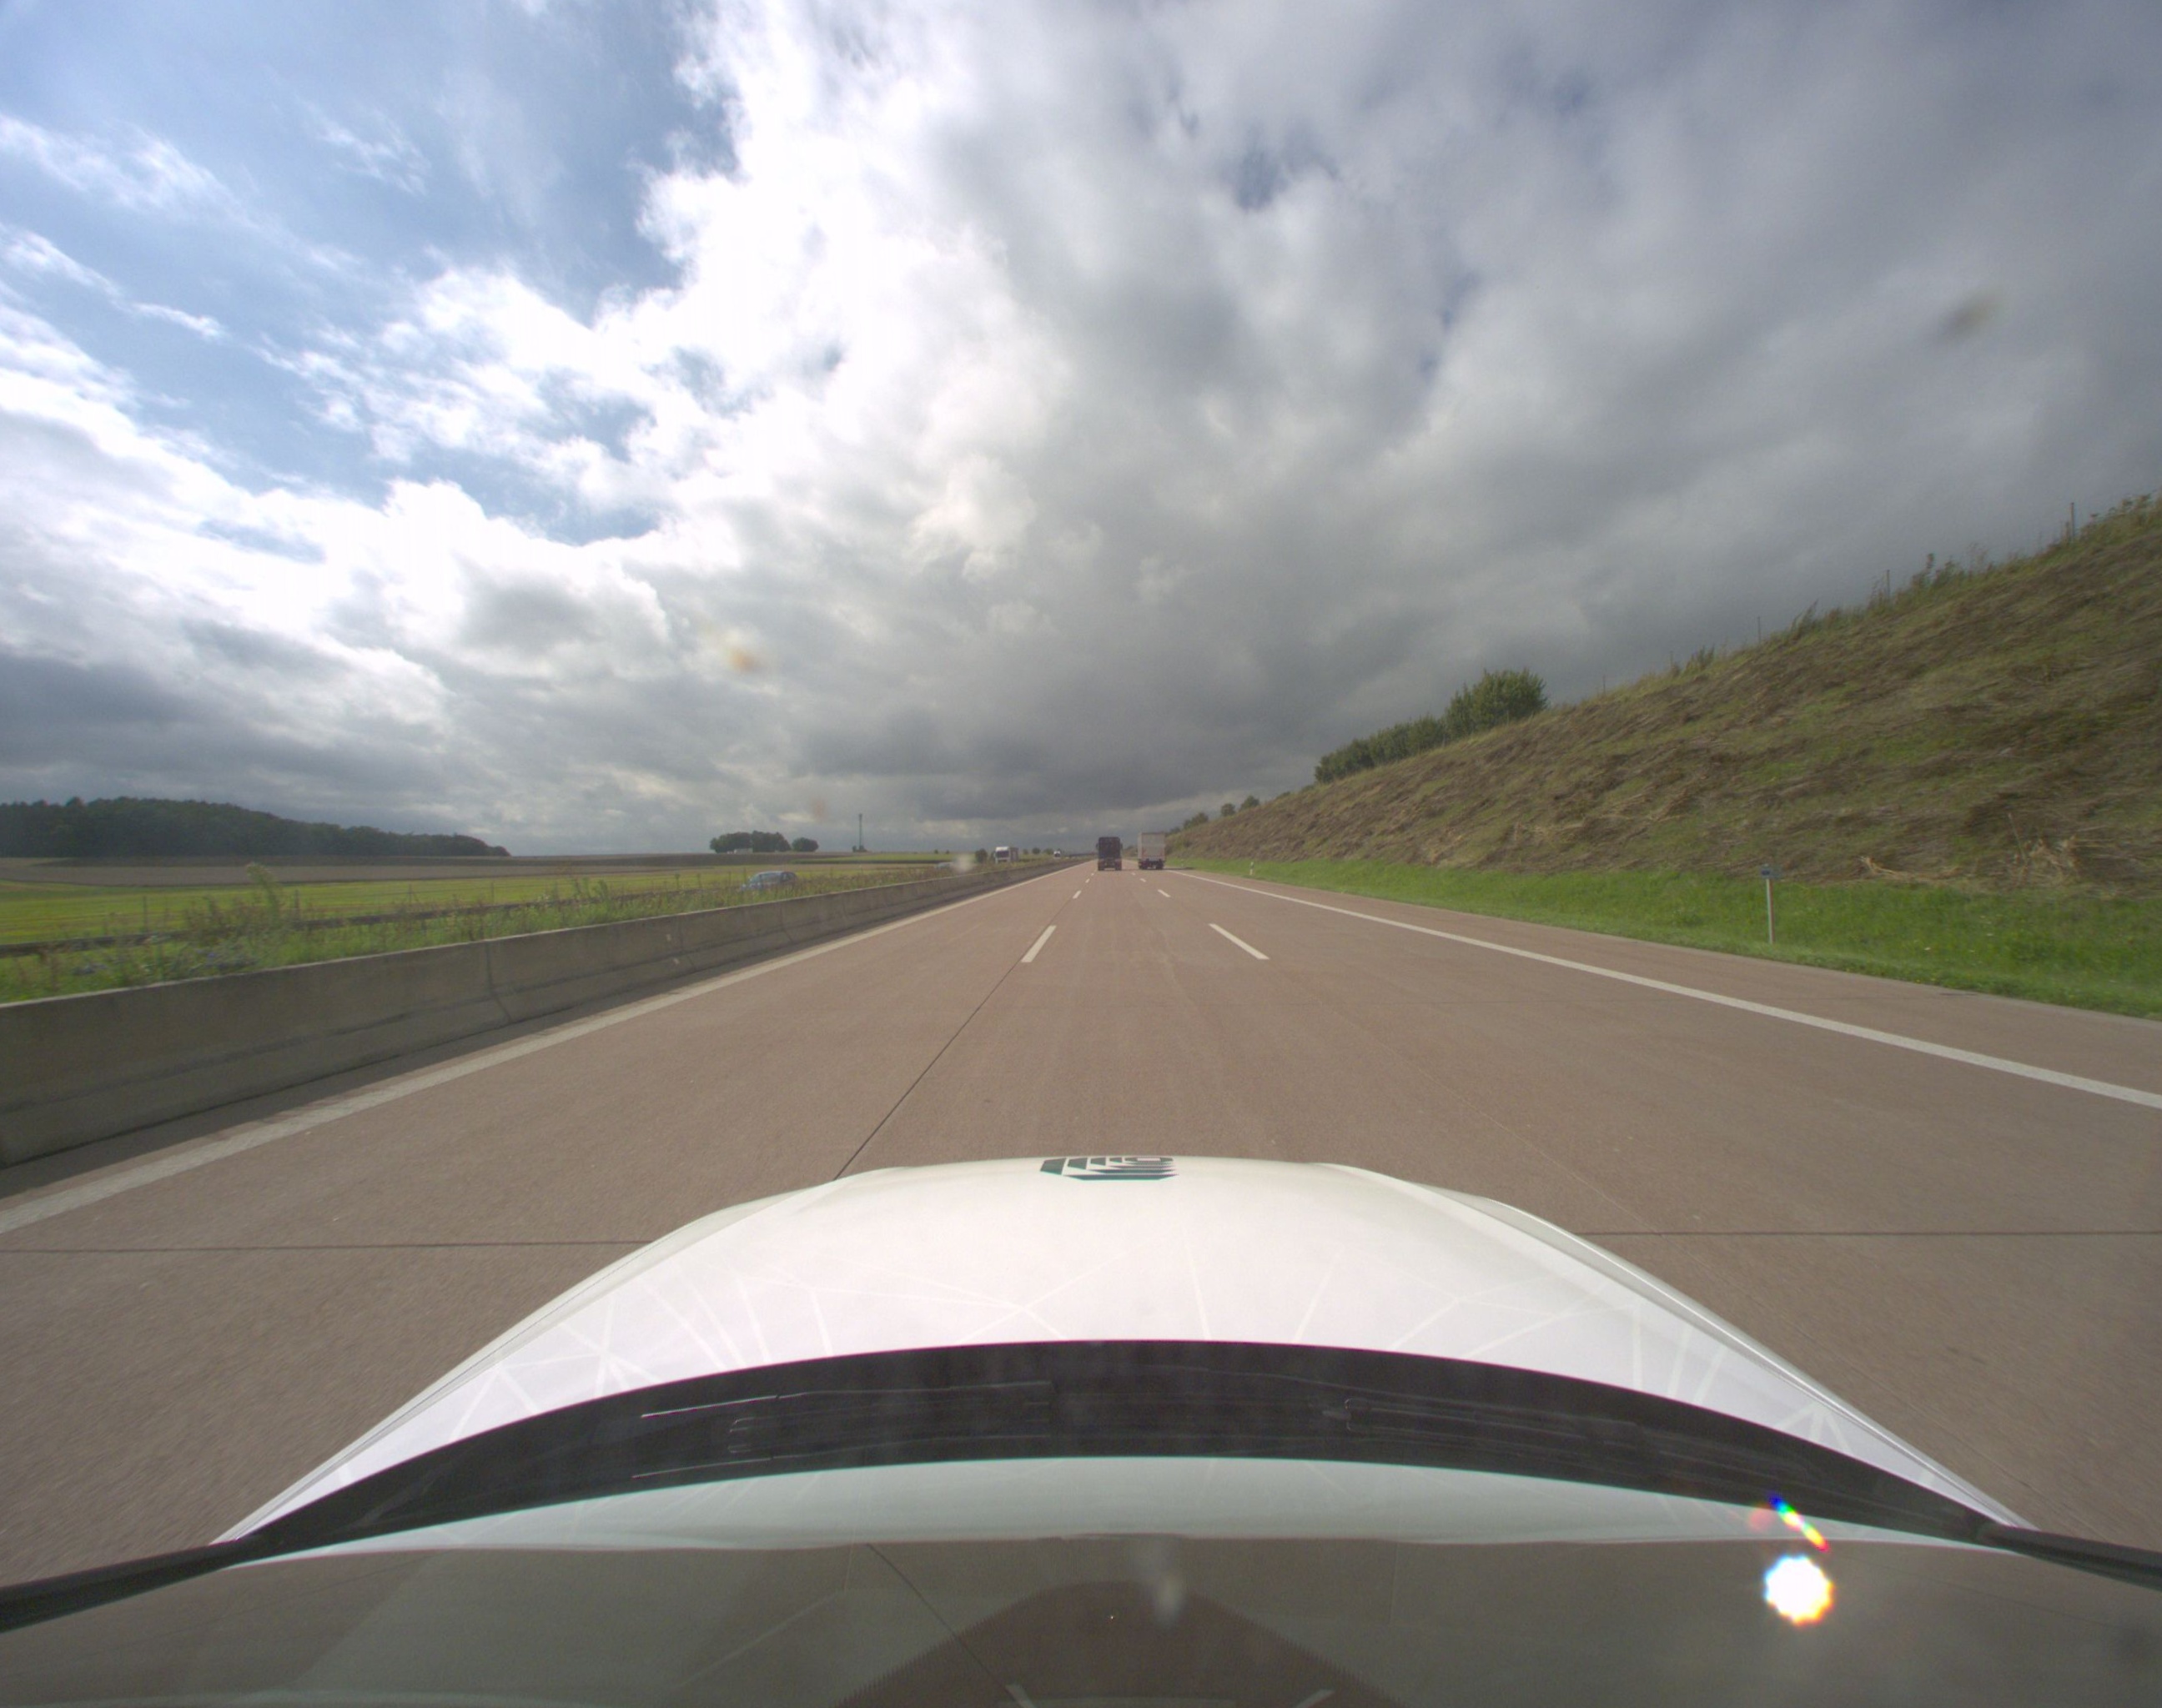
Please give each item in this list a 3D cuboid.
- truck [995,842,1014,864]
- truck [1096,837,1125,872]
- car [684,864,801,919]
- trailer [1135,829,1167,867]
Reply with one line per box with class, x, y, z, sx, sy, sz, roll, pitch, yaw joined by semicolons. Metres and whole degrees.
truck;-14.002;-0.164;148.991;2.760;3.959;5.291;-2;0;1
truck;3.080;0.039;87.405;2.838;3.550;8.318;-1;-1;0
car;-13.510;1.415;33.007;1.986;1.846;6.105;-2;0;1
trailer;7.602;-0.582;89.480;2.739;4.012;8.668;-1;-1;0
